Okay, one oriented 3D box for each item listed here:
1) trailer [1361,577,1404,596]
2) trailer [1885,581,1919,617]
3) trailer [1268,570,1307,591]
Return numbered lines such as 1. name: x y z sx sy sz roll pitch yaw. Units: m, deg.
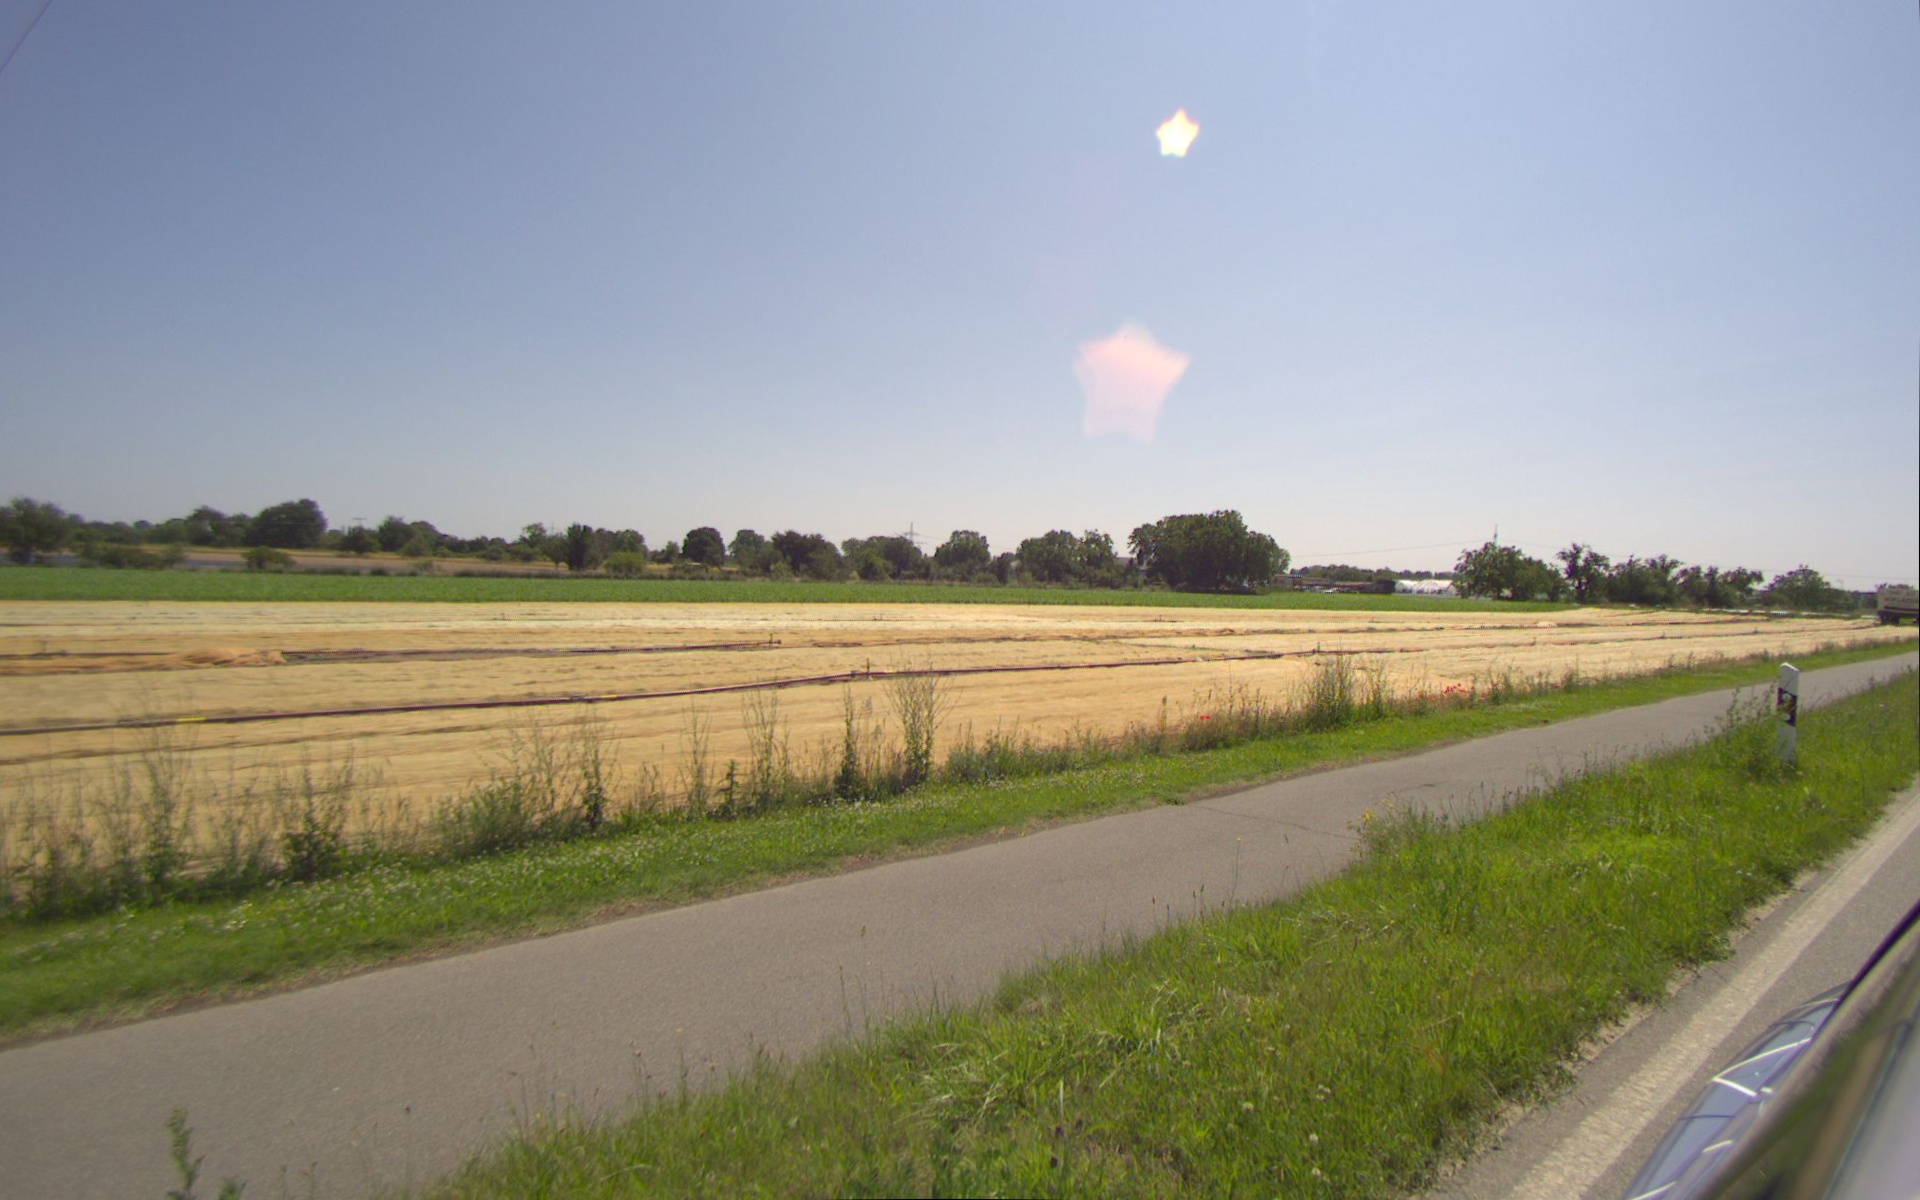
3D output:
1. trailer: 75.910 -2.416 181.918 3.191 3.334 7.458 1 1 -15
2. trailer: 82.441 -0.033 86.009 1.958 2.988 5.309 0 3 -20
3. trailer: 67.513 -4.093 208.861 3.093 4.274 7.453 1 1 -27
